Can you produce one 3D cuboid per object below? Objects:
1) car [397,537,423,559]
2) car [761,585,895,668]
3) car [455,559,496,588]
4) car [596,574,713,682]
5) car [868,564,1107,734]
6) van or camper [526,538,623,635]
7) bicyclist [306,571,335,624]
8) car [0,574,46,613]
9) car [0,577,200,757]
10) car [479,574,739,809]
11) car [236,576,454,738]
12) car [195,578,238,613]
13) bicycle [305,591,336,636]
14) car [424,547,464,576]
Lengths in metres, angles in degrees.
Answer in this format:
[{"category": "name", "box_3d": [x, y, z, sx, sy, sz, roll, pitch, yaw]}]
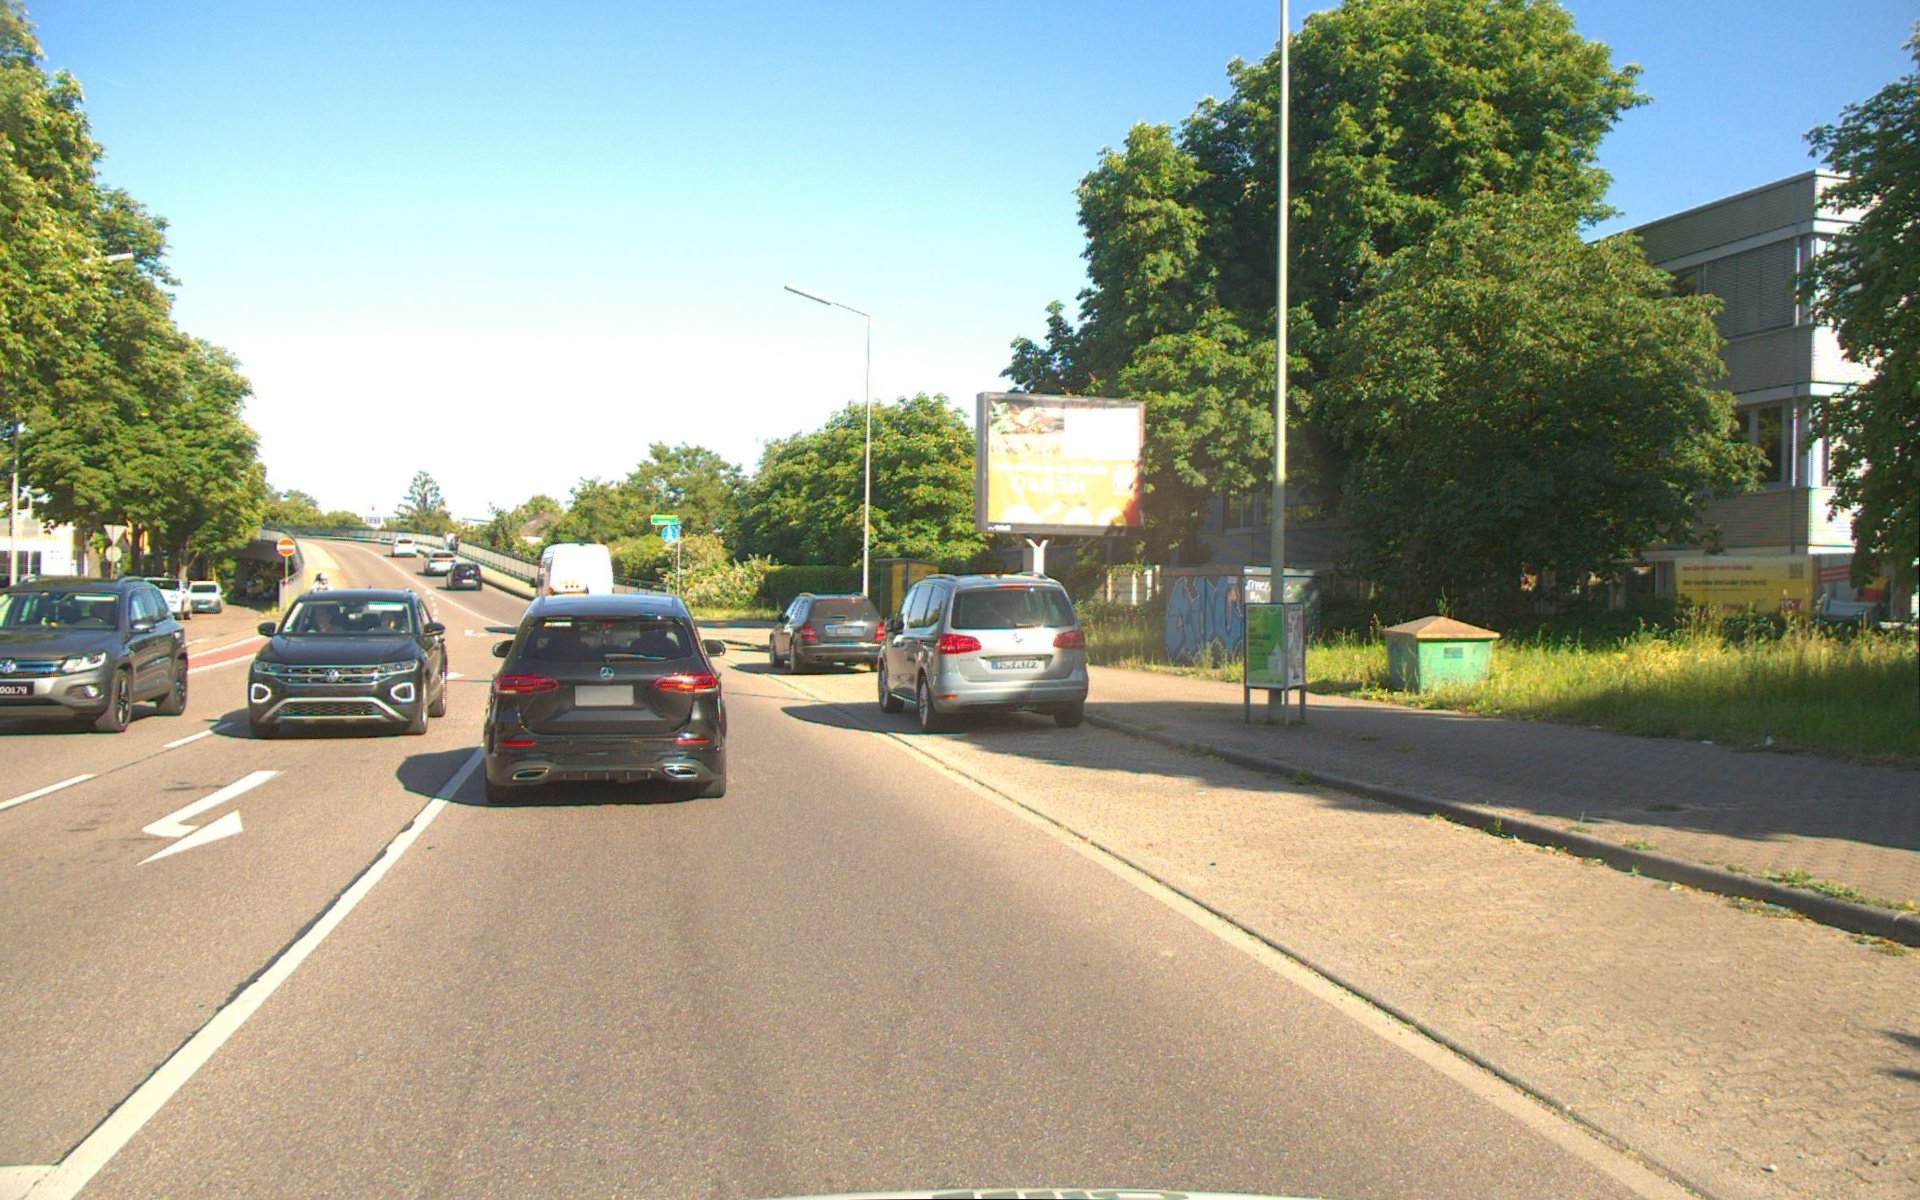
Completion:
[{"category": "car", "box_3d": [-42.612, -4.017, 128.189, 1.849, 1.570, 3.978, 1, 1, -19]}, {"category": "car", "box_3d": [-2.605, 0.456, 31.720, 1.779, 1.444, 4.406, 0, 1, -15]}, {"category": "car", "box_3d": [-26.466, -1.413, 90.385, 1.885, 1.514, 4.256, 0, 0, -13]}, {"category": "car", "box_3d": [-5.078, 0.440, 27.849, 1.771, 1.668, 3.992, 1, 0, -9]}, {"category": "car", "box_3d": [0.186, 0.498, 19.886, 1.840, 1.752, 4.598, -1, 1, -12]}, {"category": "van or camper", "box_3d": [-12.100, -0.448, 51.533, 2.193, 2.787, 7.041, 1, 1, -19]}, {"category": "bicyclist", "box_3d": [-18.718, -0.070, 48.451, 0.761, 1.510, 0.820, 1, 1, -21]}, {"category": "car", "box_3d": [-39.231, -0.289, 66.851, 1.753, 1.536, 3.647, 2, 1, 42]}, {"category": "car", "box_3d": [-10.078, 0.655, 18.830, 1.821, 1.766, 4.254, 1, 1, -14]}, {"category": "car", "box_3d": [-2.771, 0.641, 13.543, 1.737, 1.620, 3.980, 1, 0, -10]}, {"category": "car", "box_3d": [-6.851, 0.567, 18.810, 1.881, 1.627, 3.985, 0, 0, -14]}, {"category": "car", "box_3d": [-45.274, -0.289, 100.836, 1.893, 2.026, 4.236, 1, 1, -18]}, {"category": "bicycle", "box_3d": [-18.708, 0.387, 48.412, 0.781, 1.247, 3.193, 1, 0, -20]}, {"category": "car", "box_3d": [-32.341, -2.376, 103.673, 1.958, 1.709, 3.989, 0, 0, -11]}]
